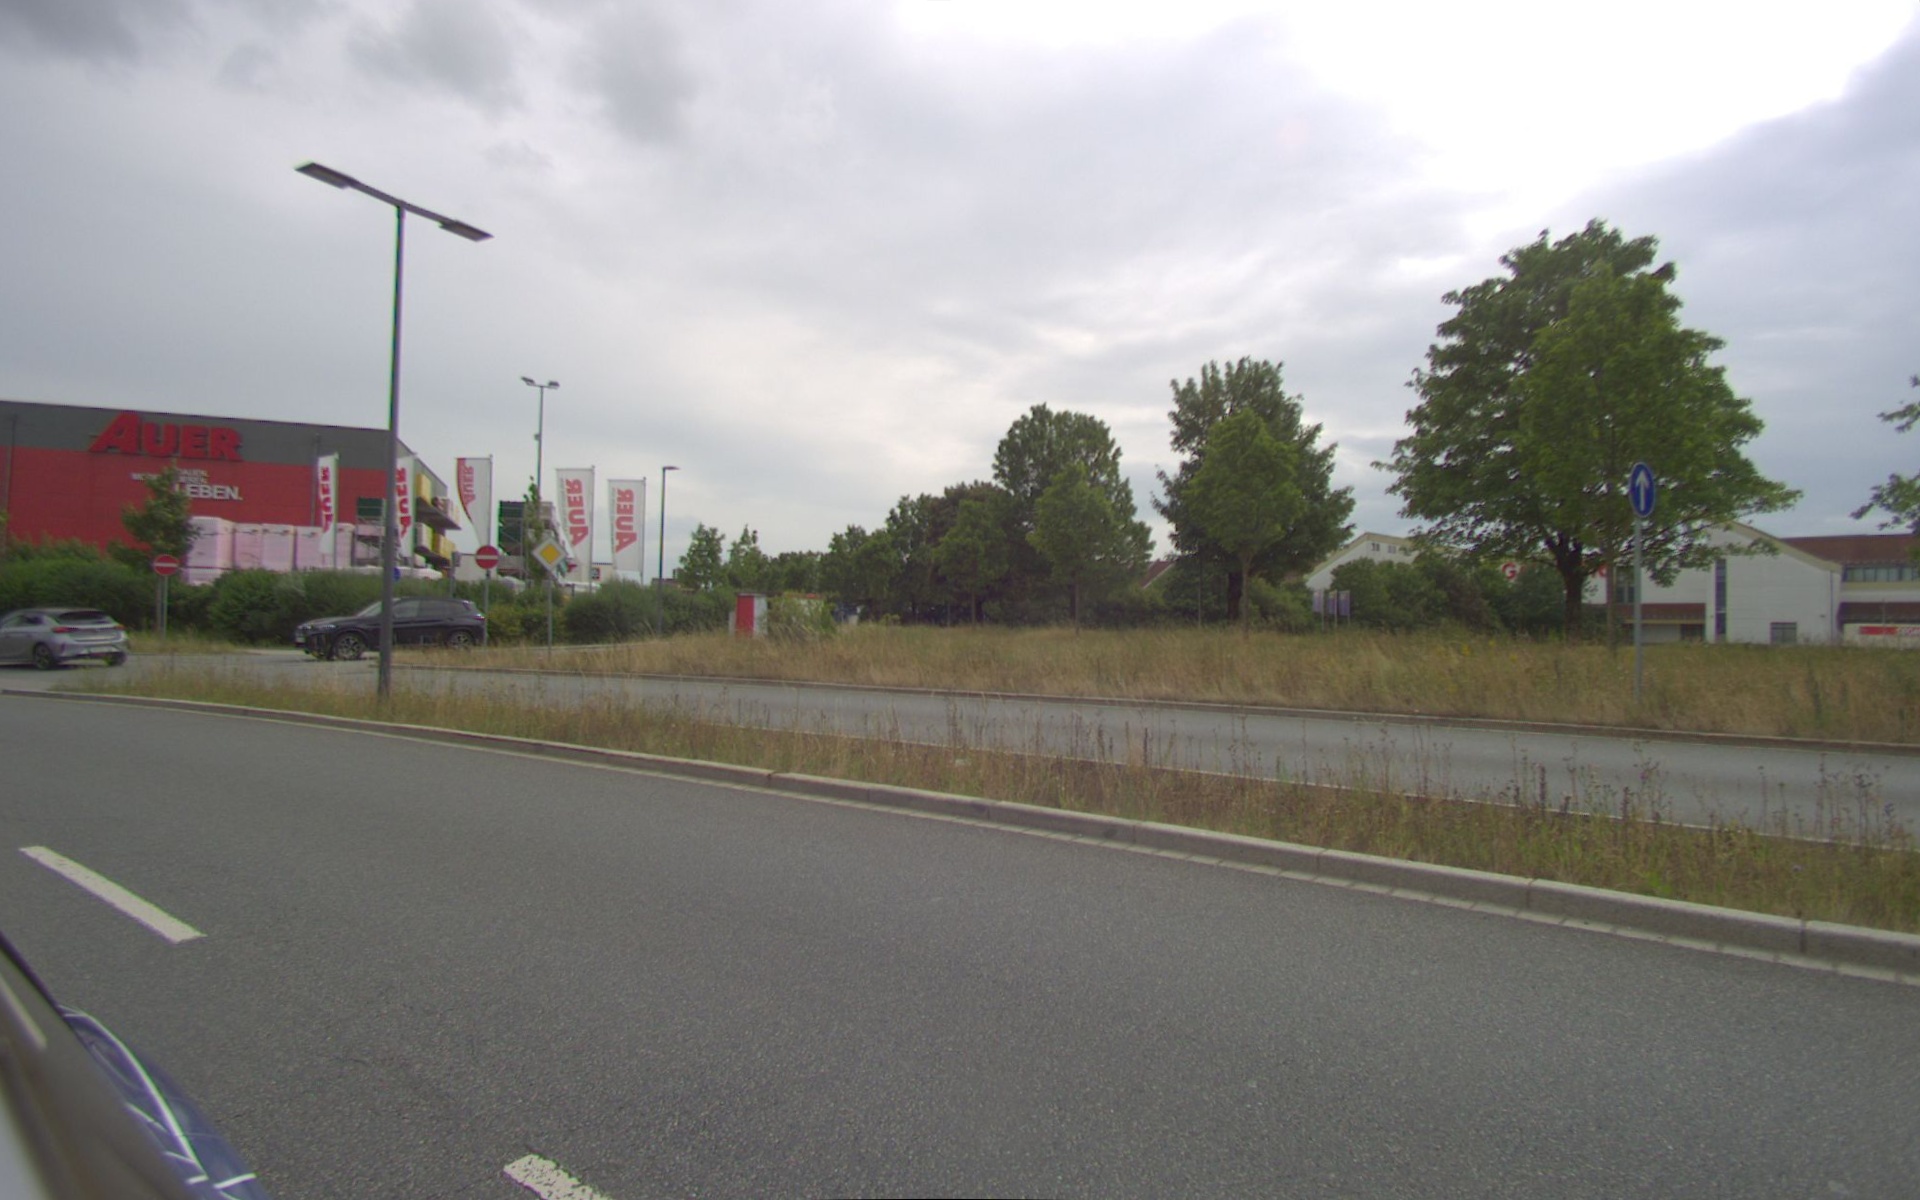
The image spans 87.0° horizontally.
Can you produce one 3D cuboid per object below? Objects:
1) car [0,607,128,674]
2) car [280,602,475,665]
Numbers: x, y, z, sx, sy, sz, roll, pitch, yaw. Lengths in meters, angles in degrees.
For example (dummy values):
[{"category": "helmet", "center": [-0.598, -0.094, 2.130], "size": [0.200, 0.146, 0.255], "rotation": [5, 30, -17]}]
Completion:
[{"category": "car", "center": [-22.285, 0.945, 24.389], "size": [4.061, 1.497, 1.455], "rotation": [0, 1, 18]}, {"category": "car", "center": [-15.681, 0.851, 27.443], "size": [1.871, 1.561, 4.201], "rotation": [0, -1, 38]}]
